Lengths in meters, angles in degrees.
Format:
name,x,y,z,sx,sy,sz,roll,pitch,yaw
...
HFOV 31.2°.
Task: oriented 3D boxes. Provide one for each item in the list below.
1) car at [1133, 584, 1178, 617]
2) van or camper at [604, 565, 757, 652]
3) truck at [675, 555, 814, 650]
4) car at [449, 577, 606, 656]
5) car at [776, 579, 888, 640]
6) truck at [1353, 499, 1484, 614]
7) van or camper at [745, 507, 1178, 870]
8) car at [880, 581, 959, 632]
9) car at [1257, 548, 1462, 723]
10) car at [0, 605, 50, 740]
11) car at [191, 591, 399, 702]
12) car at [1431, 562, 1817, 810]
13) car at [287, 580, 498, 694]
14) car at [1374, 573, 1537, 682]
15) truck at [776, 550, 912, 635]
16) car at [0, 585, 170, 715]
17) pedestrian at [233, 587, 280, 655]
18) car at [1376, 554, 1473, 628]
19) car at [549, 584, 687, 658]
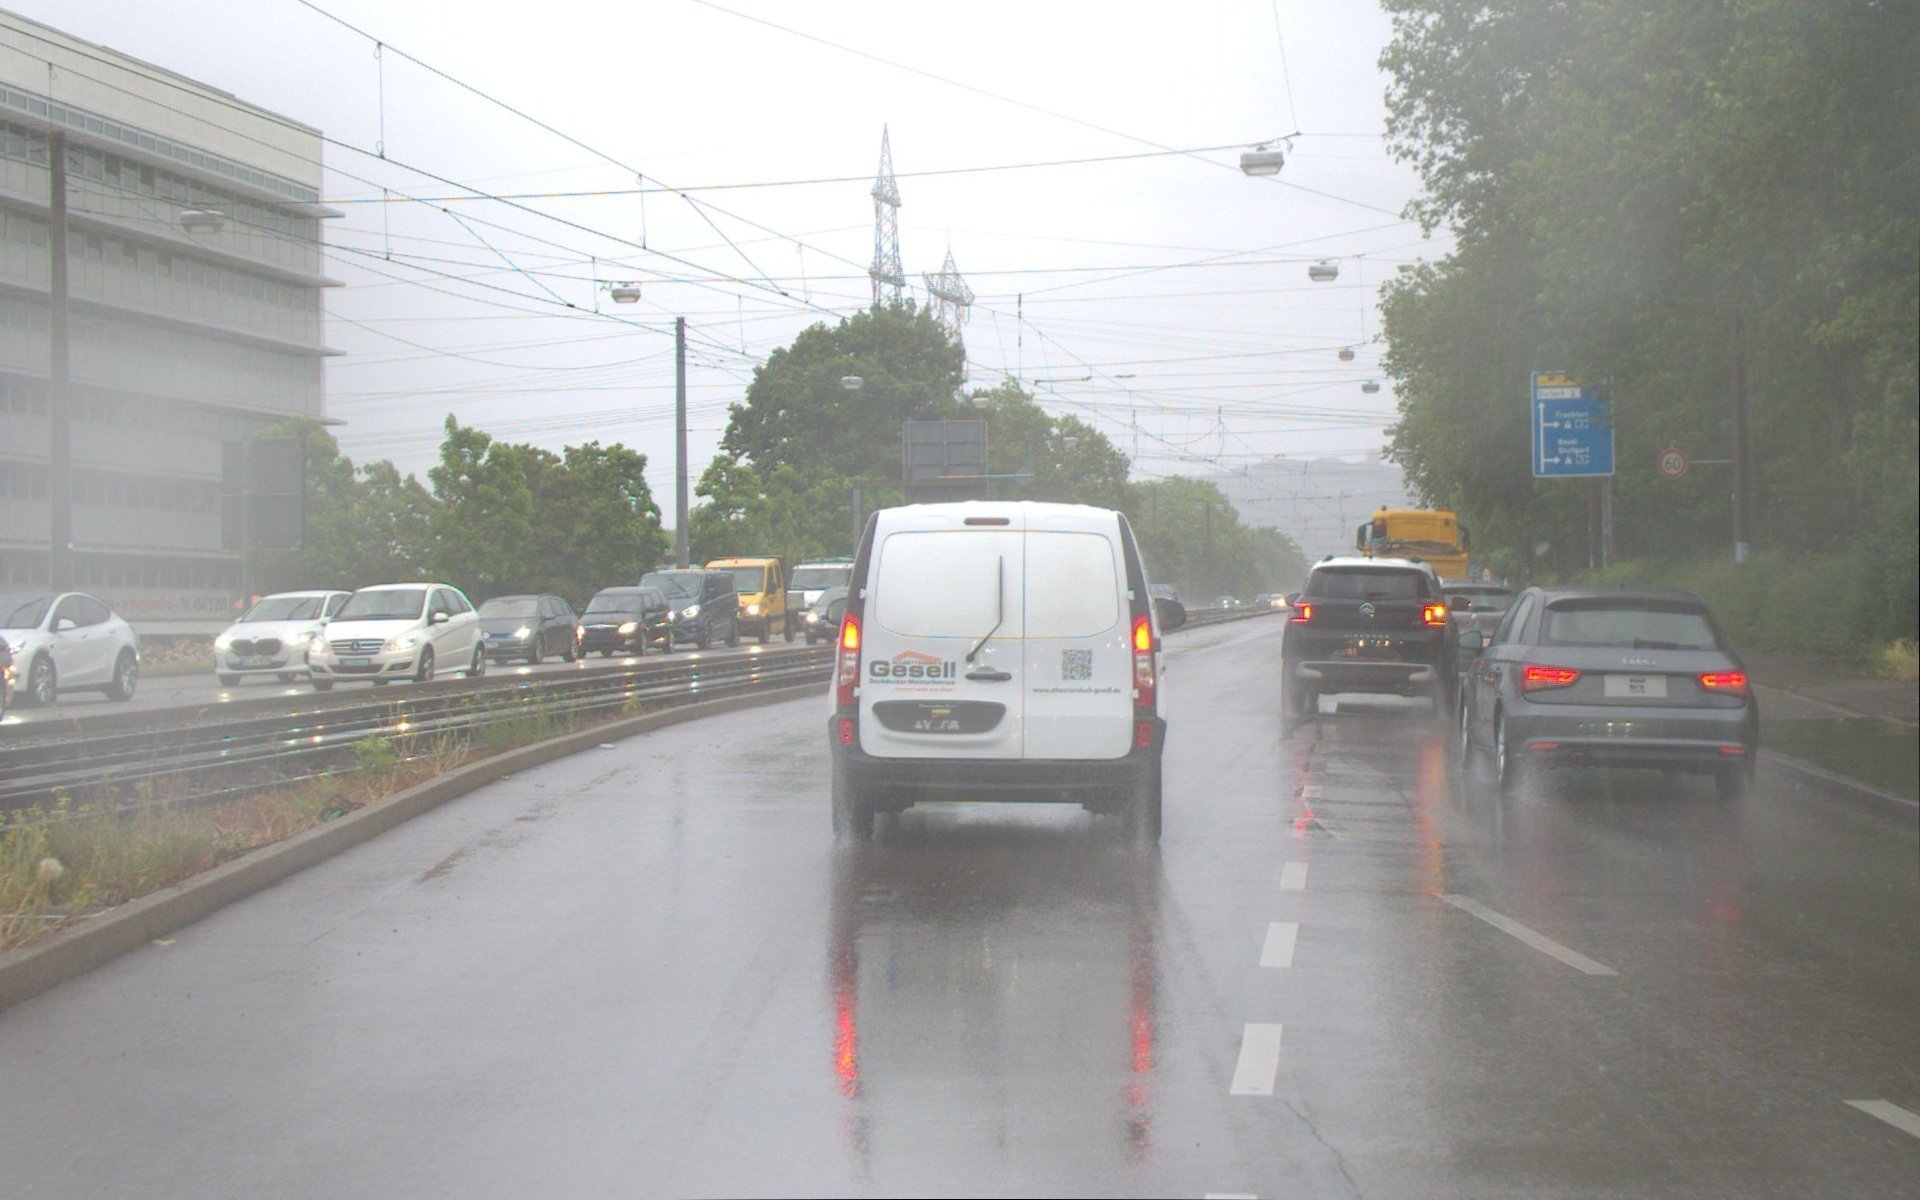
name,x,y,z,sx,sy,sz,roll,pitch,yaw
car,9.675,0.018,170.156,1.819,1.617,4.534,0,0,9
van or camper,-6.866,0.189,85.174,2.306,2.007,5.683,2,0,11
truck,-5.851,0.055,94.306,2.228,2.453,6.063,2,0,12
car,-8.940,0.326,71.438,1.964,1.511,4.552,-2,0,10
car,-3.285,0.252,89.088,1.994,1.452,4.670,-3,-1,9
truck,11.473,-1.077,85.848,3.114,2.764,6.327,0,0,8
van or camper,0.125,0.387,19.201,1.994,1.778,3.999,1,2,6
car,-1.375,0.213,118.286,1.772,1.677,4.687,2,0,11
car,4.188,0.316,36.634,1.900,1.711,4.725,0,1,4
car,-11.567,0.821,36.118,1.923,1.418,5.081,1,2,10
car,-11.421,0.774,59.398,1.994,1.828,4.691,-1,0,10
car,4.483,0.525,23.811,1.968,1.523,3.991,0,1,1
car,-8.722,0.539,53.201,1.874,1.568,4.326,1,2,10
car,6.891,0.349,48.113,1.818,1.409,3.778,0,1,2
truck,-3.475,-0.236,104.774,2.436,2.449,7.215,2,0,12
car,-12.971,0.658,48.520,1.908,1.601,4.841,2,1,8
pedestrian,-18.473,0.547,90.267,0.823,1.756,1.049,2,0,11
car,9.328,-0.209,68.820,1.819,1.409,3.777,1,1,9
car,-7.860,0.472,79.488,1.859,1.612,4.905,-2,0,10
